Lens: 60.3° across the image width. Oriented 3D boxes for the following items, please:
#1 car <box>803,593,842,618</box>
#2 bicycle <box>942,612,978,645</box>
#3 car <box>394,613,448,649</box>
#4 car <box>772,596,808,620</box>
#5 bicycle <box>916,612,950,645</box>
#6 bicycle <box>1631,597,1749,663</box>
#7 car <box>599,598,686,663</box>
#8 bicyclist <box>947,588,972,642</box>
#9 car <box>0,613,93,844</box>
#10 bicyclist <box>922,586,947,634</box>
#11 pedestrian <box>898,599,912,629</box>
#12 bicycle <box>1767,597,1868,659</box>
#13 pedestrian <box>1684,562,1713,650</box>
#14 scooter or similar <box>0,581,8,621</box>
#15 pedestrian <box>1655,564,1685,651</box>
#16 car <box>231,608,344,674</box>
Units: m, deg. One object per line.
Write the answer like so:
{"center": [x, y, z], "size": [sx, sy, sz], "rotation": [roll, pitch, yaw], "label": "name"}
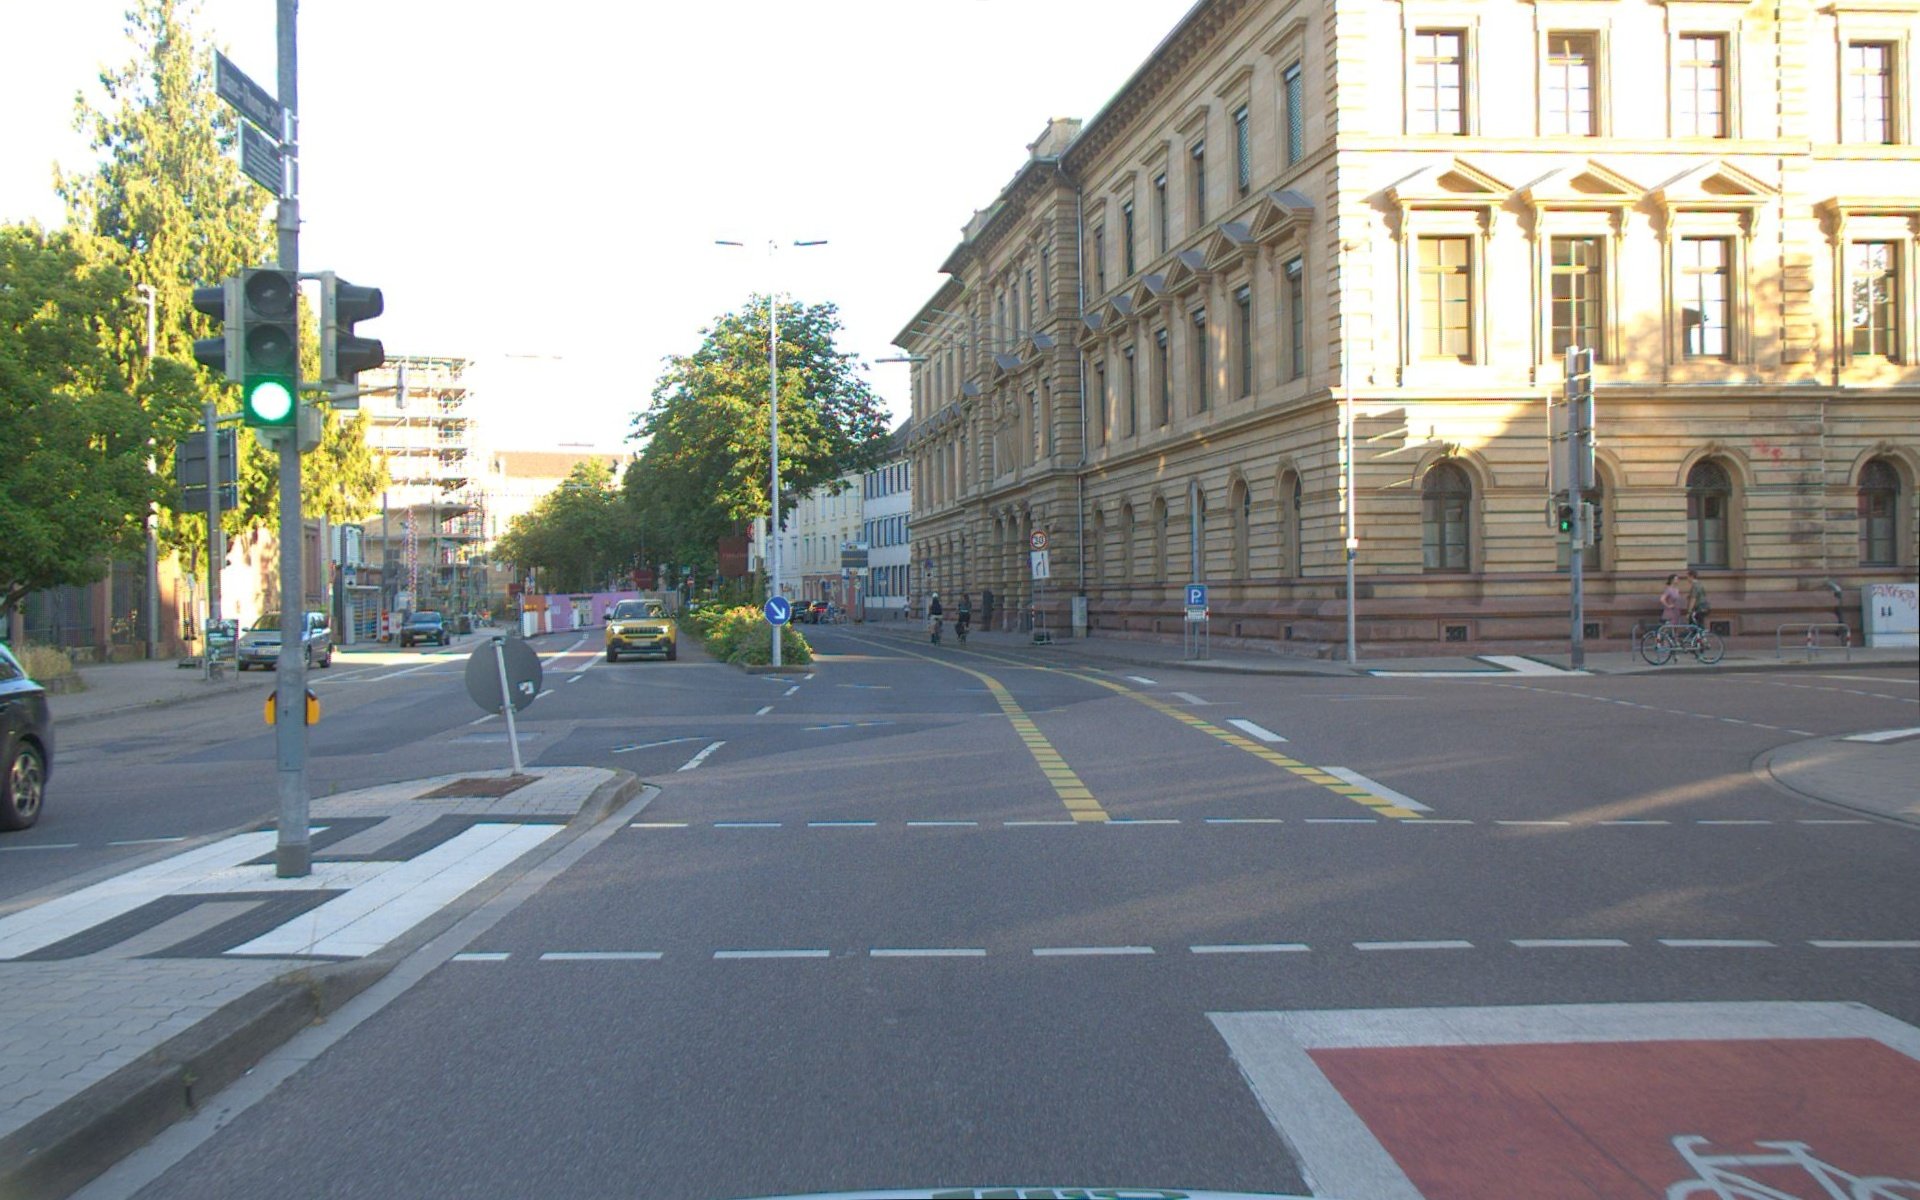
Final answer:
{"center": [-9.859, 0.397, 118.375], "size": [1.786, 1.712, 3.896], "rotation": [-1, 0, -20], "label": "car"}
{"center": [-0.009, 0.951, 55.694], "size": [0.642, 1.090, 2.249], "rotation": [1, -1, -14], "label": "bicycle"}
{"center": [-21.811, 1.232, 67.025], "size": [1.650, 1.374, 3.874], "rotation": [-2, 0, -13], "label": "car"}
{"center": [-12.991, 0.615, 126.049], "size": [1.786, 1.713, 3.975], "rotation": [-1, 0, -20], "label": "car"}
{"center": [-0.903, 0.934, 54.832], "size": [0.659, 1.090, 1.892], "rotation": [1, -1, -17], "label": "bicycle"}
{"center": [14.665, 0.602, 33.254], "size": [2.009, 1.228, 0.862], "rotation": [-1, 2, -3], "label": "bicycle"}
{"center": [-8.219, 0.753, 43.142], "size": [1.810, 1.574, 4.113], "rotation": [-1, 0, -6], "label": "car"}
{"center": [-0.022, 0.505, 55.768], "size": [0.638, 1.791, 0.861], "rotation": [1, 0, -15], "label": "bicyclist"}
{"center": [-7.256, 0.889, 10.299], "size": [1.788, 1.534, 4.420], "rotation": [-1, 0, -7], "label": "car"}
{"center": [-0.858, 0.331, 54.775], "size": [0.658, 1.593, 0.695], "rotation": [1, -1, -15], "label": "bicyclist"}
{"center": [-3.296, 0.823, 99.049], "size": [0.801, 1.796, 1.037], "rotation": [0, 0, -6], "label": "pedestrian"}
{"center": [17.285, 0.564, 33.351], "size": [1.689, 1.164, 0.696], "rotation": [-1, 2, -3], "label": "bicycle"}
{"center": [16.026, 0.127, 35.892], "size": [0.523, 1.890, 0.622], "rotation": [-1, 0, 24], "label": "pedestrian"}
{"center": [-18.964, 0.027, 31.918], "size": [0.665, 0.791, 1.027], "rotation": [-1, 0, -8], "label": "scooter or similar"}
{"center": [15.552, 0.166, 36.233], "size": [0.446, 1.890, 0.421], "rotation": [-1, 0, -43], "label": "pedestrian"}
{"center": [-17.057, 1.050, 42.131], "size": [1.712, 1.575, 4.359], "rotation": [0, -2, -9], "label": "car"}
